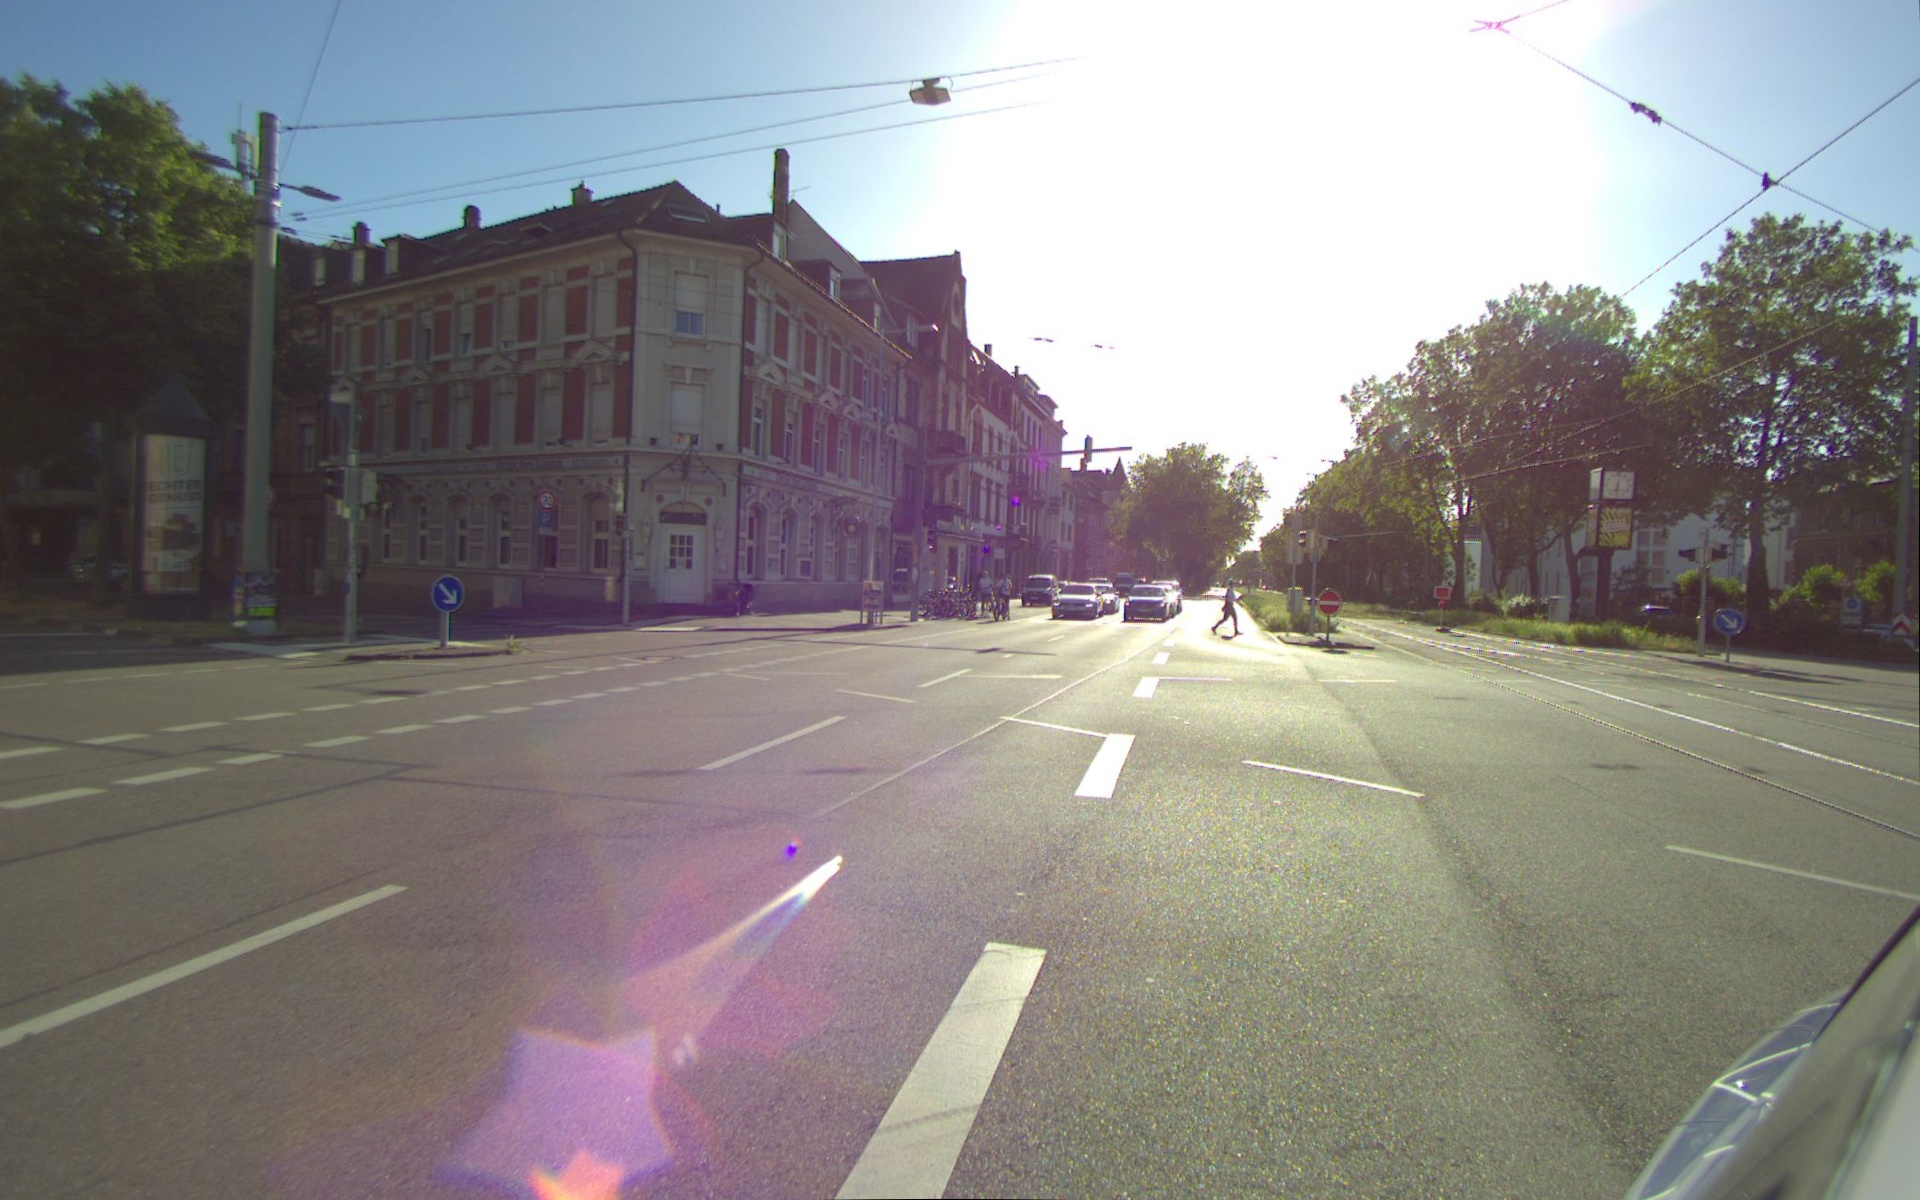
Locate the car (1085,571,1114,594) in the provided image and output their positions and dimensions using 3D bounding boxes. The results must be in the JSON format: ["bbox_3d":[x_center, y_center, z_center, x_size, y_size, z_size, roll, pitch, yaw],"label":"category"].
[{"bbox_3d":[12.260,-1.524,88.527,1.927,1.884,4.783,3,2,14],"label":"car"}]

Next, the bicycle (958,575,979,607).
[{"bbox_3d":[0.342,-0.387,40.548,0.667,1.205,1.966,2,2,4],"label":"bicycle"}]

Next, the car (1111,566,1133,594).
[{"bbox_3d":[17.801,-2.202,111.031,2.167,2.944,5.944,3,2,10],"label":"car"}]

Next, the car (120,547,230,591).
[{"bbox_3d":[-30.286,-1.209,39.027,4.000,1.515,1.979,4,2,30],"label":"car"}]

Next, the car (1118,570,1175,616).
[{"bbox_3d":[7.648,-0.311,41.236,1.927,1.688,3.983,3,2,14],"label":"car"}]

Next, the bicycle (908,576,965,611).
[{"bbox_3d":[-0.865,-0.260,37.494,1.940,1.205,0.676,3,2,17],"label":"bicycle"}]

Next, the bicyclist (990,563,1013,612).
[{"bbox_3d":[1.559,-0.475,38.013,0.594,1.785,0.871,3,2,18],"label":"bicyclist"}]

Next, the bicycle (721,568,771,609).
[{"bbox_3d":[-6.597,-0.379,31.354,0.539,1.205,1.955,3,2,20],"label":"bicycle"}]

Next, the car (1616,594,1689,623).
[{"bbox_3d":[41.033,0.446,60.095,1.890,1.471,4.487,3,2,12],"label":"car"}]

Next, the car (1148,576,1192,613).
[{"bbox_3d":[10.859,-0.331,52.139,1.927,1.688,4.468,3,2,14],"label":"car"}]

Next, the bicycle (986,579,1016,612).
[{"bbox_3d":[1.566,-0.188,38.081,0.593,1.205,1.956,3,2,17],"label":"bicycle"}]

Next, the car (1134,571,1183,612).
[{"bbox_3d":[9.165,-0.430,46.507,1.927,1.688,3.983,3,2,14],"label":"car"}]

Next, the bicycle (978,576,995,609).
[{"bbox_3d":[1.035,-0.318,40.199,0.590,1.205,1.967,2,2,1],"label":"bicycle"}]

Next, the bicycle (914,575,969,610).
[{"bbox_3d":[-0.707,-0.297,38.179,1.940,1.205,0.676,3,2,17],"label":"bicycle"}]

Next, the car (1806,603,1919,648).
[{"bbox_3d":[35.937,0.977,39.961,1.890,1.471,4.487,3,2,12],"label":"car"}]

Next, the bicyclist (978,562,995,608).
[{"bbox_3d":[1.055,-0.615,40.149,0.590,1.785,0.906,2,2,1],"label":"bicyclist"}]

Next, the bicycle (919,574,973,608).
[{"bbox_3d":[-0.537,-0.361,38.806,1.940,1.205,0.676,3,2,17],"label":"bicycle"}]

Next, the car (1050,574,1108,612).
[{"bbox_3d":[4.995,-0.321,42.100,1.819,1.429,3.983,3,2,14],"label":"car"}]

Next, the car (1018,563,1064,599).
[{"bbox_3d":[4.801,-1.138,59.637,1.927,1.989,4.399,3,2,14],"label":"car"}]

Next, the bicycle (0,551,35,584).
[{"bbox_3d":[-32.087,-1.100,33.603,1.908,1.080,0.585,2,2,-21],"label":"bicycle"}]

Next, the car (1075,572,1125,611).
[{"bbox_3d":[6.798,-0.443,48.862,1.927,1.688,3.983,3,2,14],"label":"car"}]

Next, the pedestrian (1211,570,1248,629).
[{"bbox_3d":[8.075,-0.033,30.376,0.924,1.690,0.716,3,2,9],"label":"pedestrian"}]

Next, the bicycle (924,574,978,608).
[{"bbox_3d":[-0.356,-0.364,39.457,1.940,1.205,0.676,3,2,17],"label":"bicycle"}]
